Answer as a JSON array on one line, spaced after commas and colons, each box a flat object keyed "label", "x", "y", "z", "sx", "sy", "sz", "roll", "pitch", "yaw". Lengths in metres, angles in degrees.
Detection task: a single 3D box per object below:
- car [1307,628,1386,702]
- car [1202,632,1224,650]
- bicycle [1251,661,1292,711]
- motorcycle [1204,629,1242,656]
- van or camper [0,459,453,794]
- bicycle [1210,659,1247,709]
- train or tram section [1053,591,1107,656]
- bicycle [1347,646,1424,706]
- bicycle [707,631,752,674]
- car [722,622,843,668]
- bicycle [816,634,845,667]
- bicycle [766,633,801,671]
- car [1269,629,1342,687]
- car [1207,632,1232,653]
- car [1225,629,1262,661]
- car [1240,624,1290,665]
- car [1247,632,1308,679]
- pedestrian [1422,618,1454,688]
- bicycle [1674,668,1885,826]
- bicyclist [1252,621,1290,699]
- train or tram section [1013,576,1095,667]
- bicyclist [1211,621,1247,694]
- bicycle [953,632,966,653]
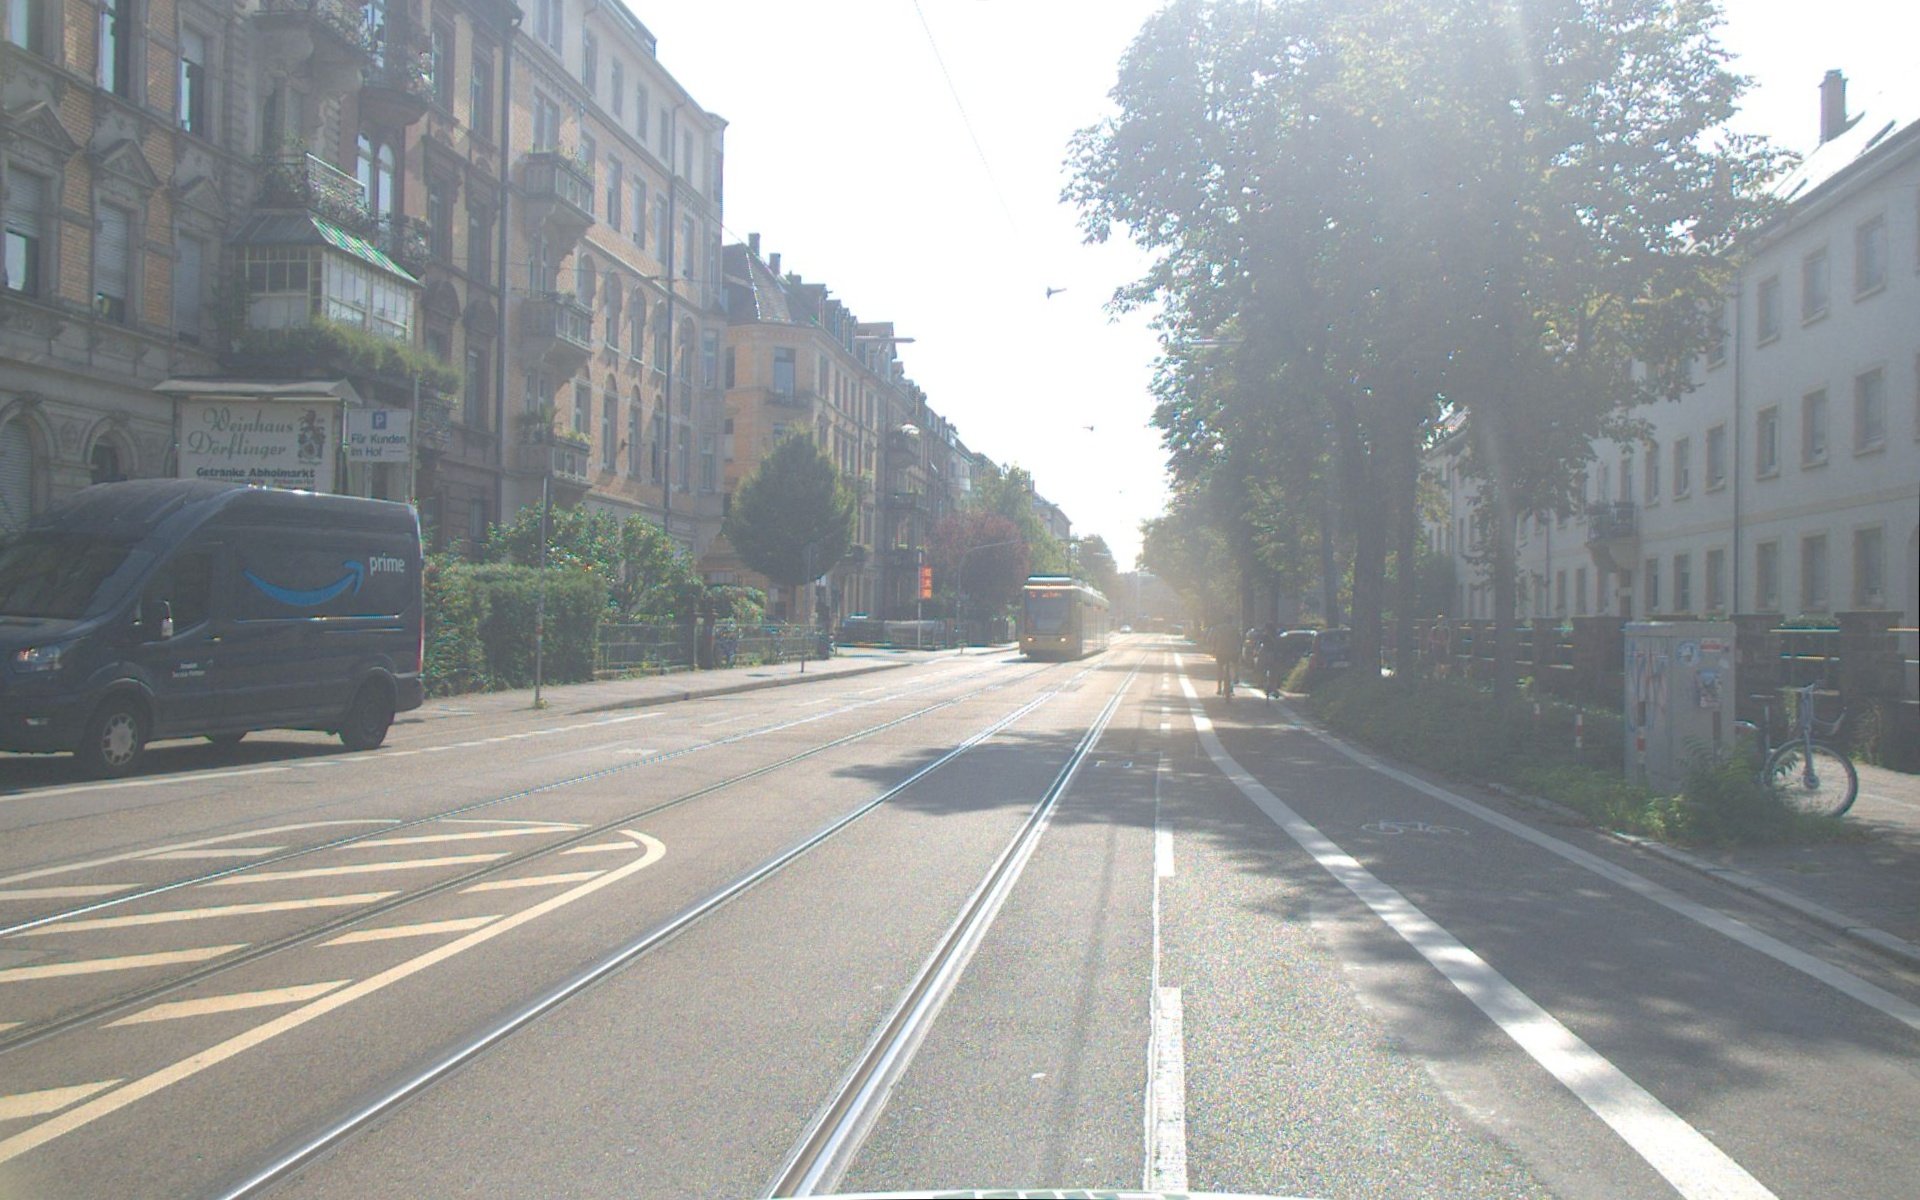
[{"label": "car", "x": 8.711, "y": 1.440, "z": 37.385, "sx": 1.610, "sy": 1.567, "sz": 3.845, "roll": -1, "pitch": -2, "yaw": 12}, {"label": "car", "x": 21.365, "y": 3.507, "z": 139.865, "sx": 1.734, "sy": 1.499, "sz": 3.976, "roll": 0, "pitch": -2, "yaw": 7}, {"label": "bicycle", "x": 6.236, "y": 1.715, "z": 33.184, "sx": 0.640, "sy": 0.925, "sz": 1.776, "roll": 2, "pitch": -1, "yaw": 6}, {"label": "motorcycle", "x": 17.049, "y": 2.749, "z": 107.280, "sx": 0.904, "sy": 1.703, "sz": 2.386, "roll": 0, "pitch": -1, "yaw": -38}, {"label": "van or camper", "x": -7.607, "y": 0.294, "z": 16.481, "sx": 2.007, "sy": 2.691, "sz": 6.093, "roll": 0, "pitch": -2, "yaw": 14}, {"label": "bicycle", "x": 5.370, "y": 1.661, "z": 33.117, "sx": 0.613, "sy": 0.925, "sz": 1.526, "roll": 2, "pitch": -1, "yaw": 6}, {"label": "train or tram section", "x": 7.128, "y": 1.386, "z": 96.889, "sx": 2.676, "sy": 3.567, "sz": 10.782, "roll": 1, "pitch": -1, "yaw": 7}, {"label": "bicycle", "x": 7.992, "y": 1.419, "z": 31.026, "sx": 1.713, "sy": 1.092, "sz": 0.517, "roll": 2, "pitch": -2, "yaw": -42}, {"label": "bicycle", "x": -6.162, "y": 1.401, "z": 44.288, "sx": 0.594, "sy": 1.076, "sz": 1.841, "roll": 4, "pitch": -1, "yaw": 9}, {"label": "car", "x": -6.500, "y": 1.654, "z": 60.882, "sx": 4.049, "sy": 1.570, "sz": 2.065, "roll": 1, "pitch": -2, "yaw": 6}, {"label": "bicycle", "x": -4.462, "y": 1.735, "z": 57.137, "sx": 0.533, "sy": 1.076, "sz": 1.841, "roll": 4, "pitch": -1, "yaw": 9}, {"label": "bicycle", "x": -5.335, "y": 1.559, "z": 50.164, "sx": 0.533, "sy": 1.076, "sz": 1.841, "roll": 4, "pitch": -1, "yaw": 9}, {"label": "car", "x": 9.390, "y": 1.562, "z": 45.168, "sx": 1.610, "sy": 1.473, "sz": 4.248, "roll": -1, "pitch": -2, "yaw": 7}, {"label": "car", "x": 19.250, "y": 3.152, "z": 122.963, "sx": 1.690, "sy": 1.531, "sz": 3.987, "roll": -1, "pitch": -2, "yaw": 7}, {"label": "car", "x": 14.503, "y": 2.321, "z": 84.804, "sx": 1.706, "sy": 1.588, "sz": 4.722, "roll": 0, "pitch": -1, "yaw": 8}, {"label": "car", "x": 12.211, "y": 1.787, "z": 66.410, "sx": 1.654, "sy": 1.529, "sz": 4.098, "roll": -2, "pitch": -2, "yaw": 7}, {"label": "car", "x": 10.710, "y": 1.851, "z": 55.995, "sx": 1.654, "sy": 1.460, "sz": 4.339, "roll": -2, "pitch": -1, "yaw": 7}, {"label": "pedestrian", "x": 12.366, "y": 1.356, "z": 42.793, "sx": 0.736, "sy": 1.780, "sz": 0.879, "roll": 1, "pitch": -1, "yaw": 14}, {"label": "bicycle", "x": 6.713, "y": 1.160, "z": 13.697, "sx": 0.755, "sy": 1.123, "sz": 2.334, "roll": 0, "pitch": -1, "yaw": 5}, {"label": "bicyclist", "x": 6.233, "y": 1.197, "z": 33.181, "sx": 0.640, "sy": 1.500, "sz": 0.909, "roll": 2, "pitch": -1, "yaw": 6}, {"label": "train or tram section", "x": 4.339, "y": 0.983, "z": 73.143, "sx": 2.676, "sy": 3.567, "sz": 15.442, "roll": 1, "pitch": -1, "yaw": 7}, {"label": "bicyclist", "x": 5.375, "y": 1.145, "z": 33.139, "sx": 0.613, "sy": 1.425, "sz": 0.930, "roll": 2, "pitch": -1, "yaw": 6}, {"label": "bicycle", "x": -0.030, "y": 2.371, "z": 91.984, "sx": 0.497, "sy": 1.127, "sz": 2.005, "roll": 0, "pitch": -1, "yaw": 7}]
